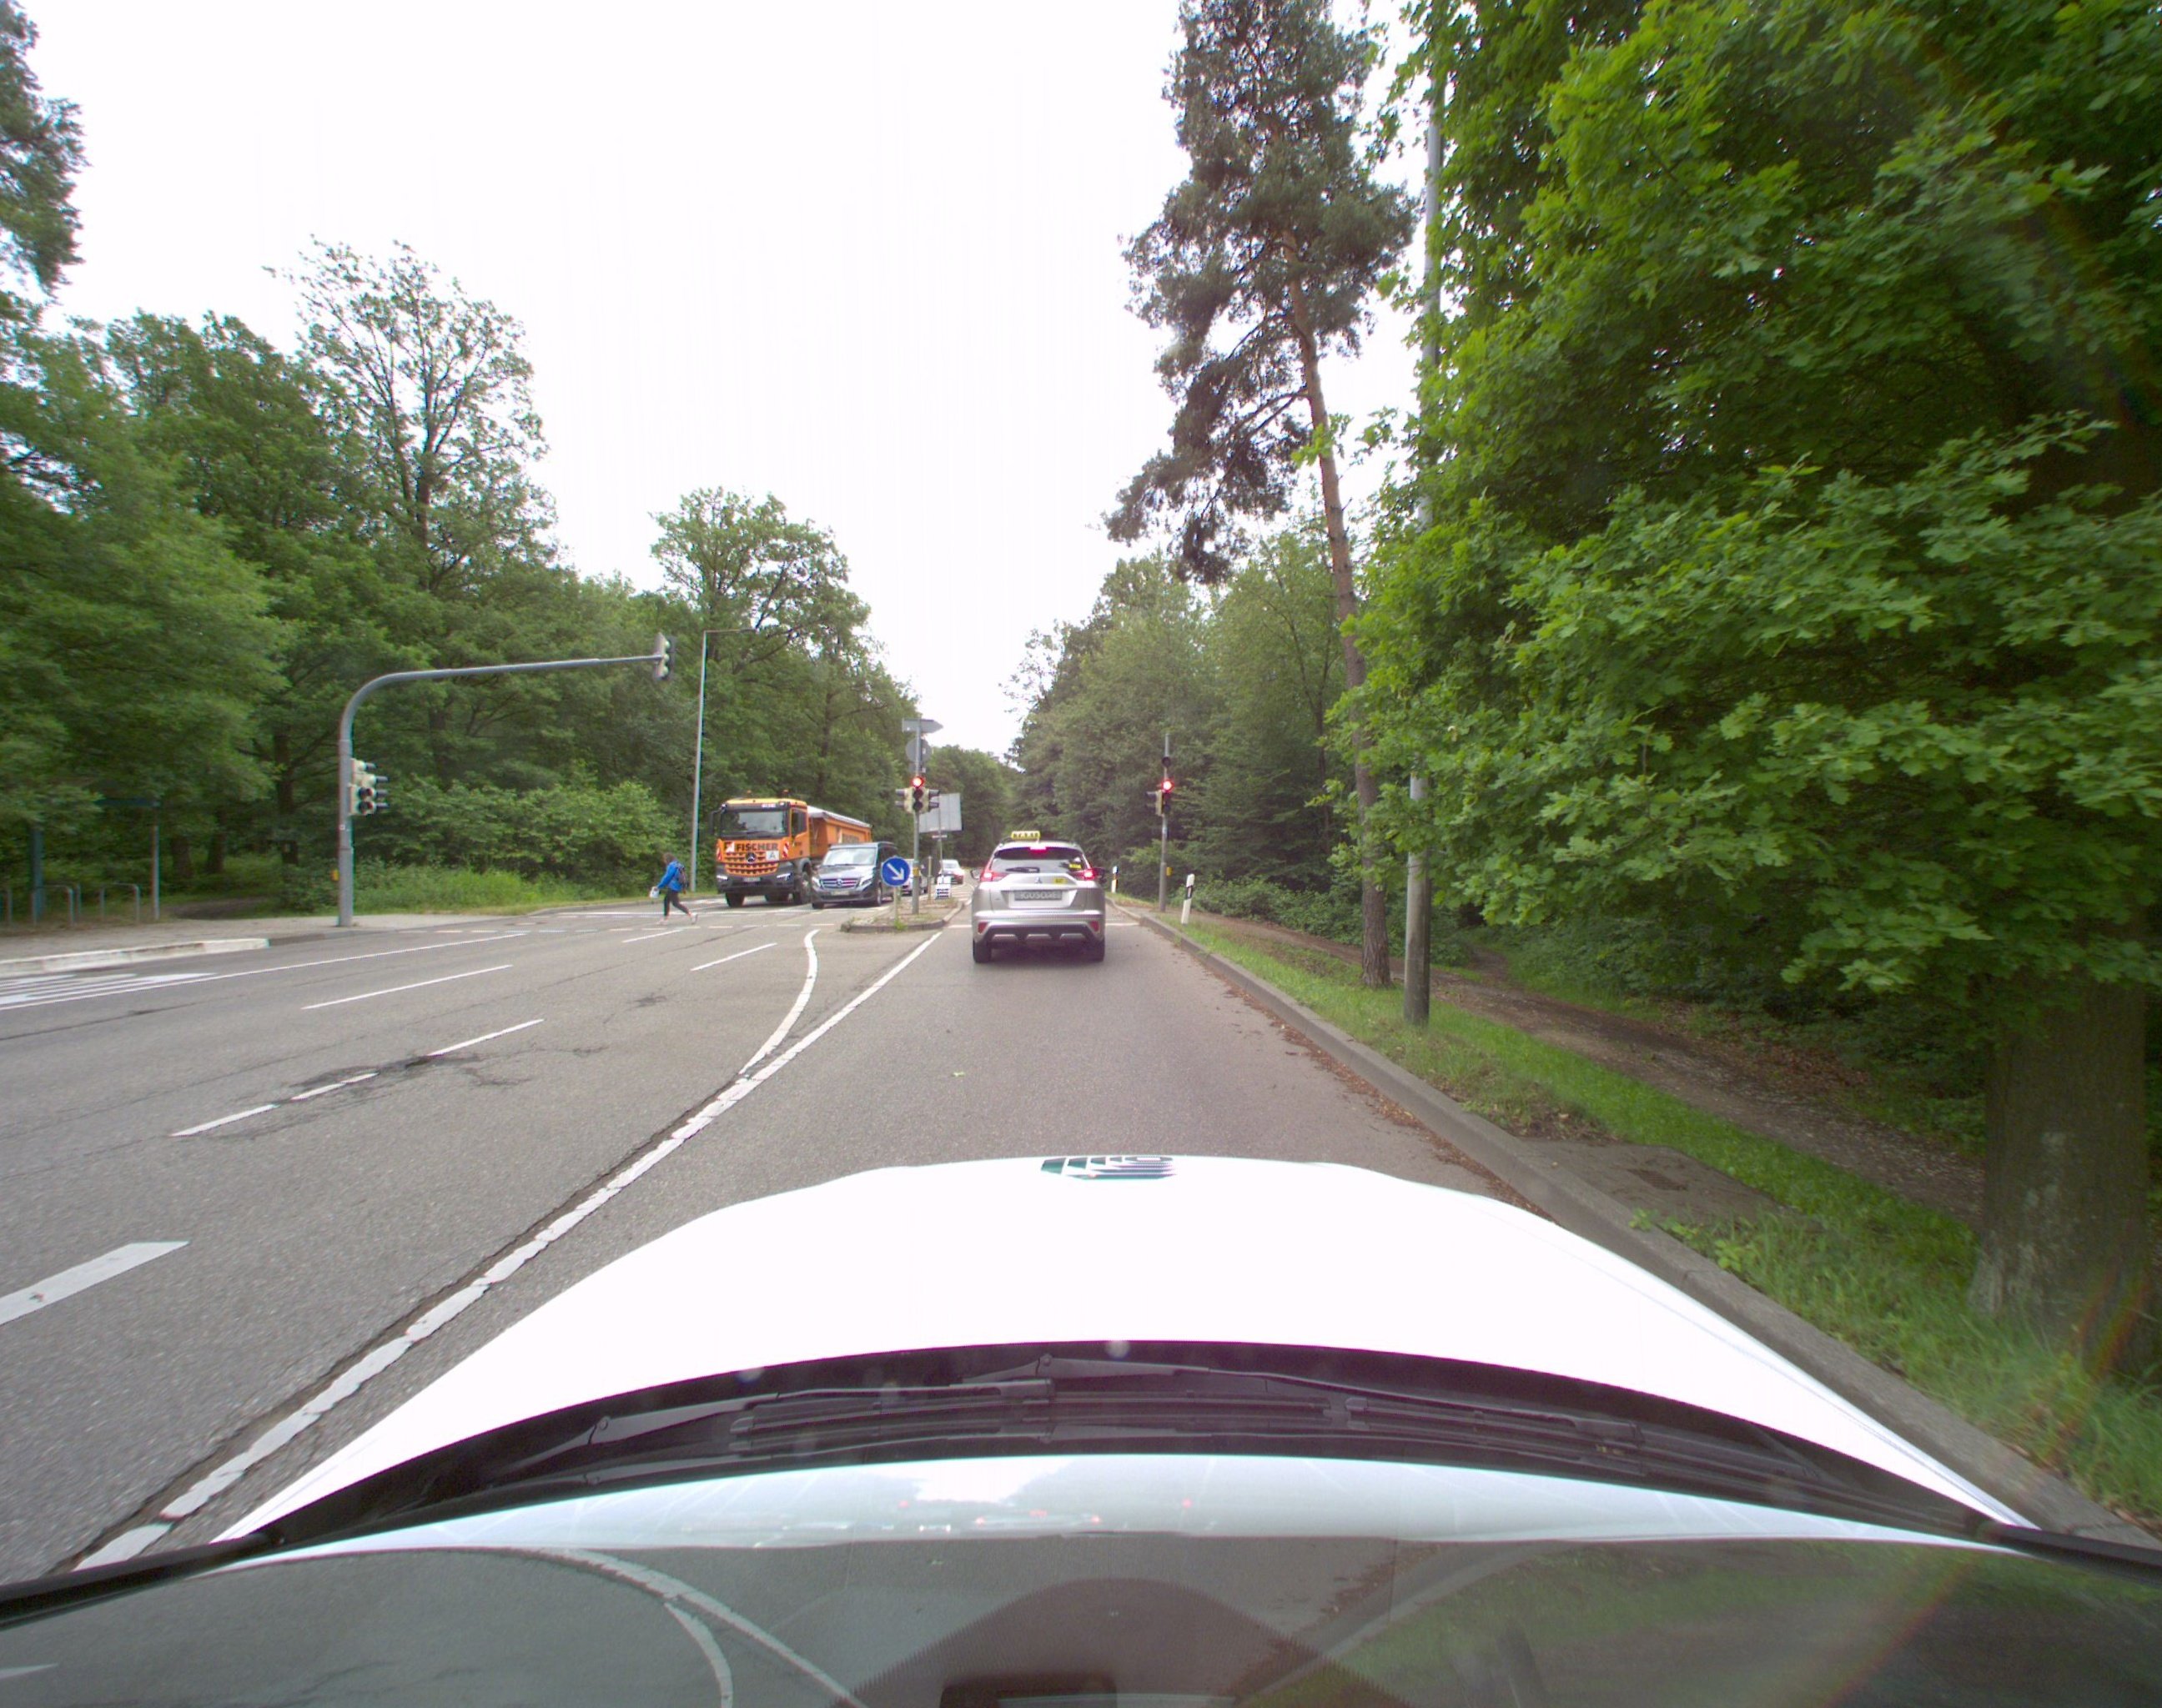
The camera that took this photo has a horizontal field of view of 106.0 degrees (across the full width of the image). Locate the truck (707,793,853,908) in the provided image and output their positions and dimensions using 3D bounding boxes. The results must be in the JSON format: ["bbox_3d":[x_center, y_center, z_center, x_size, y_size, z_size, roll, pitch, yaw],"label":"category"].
[{"bbox_3d":[-9.893,-0.059,27.649,2.734,3.318,7.148,-1,-1,-4],"label":"truck"}]

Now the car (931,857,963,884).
[{"bbox_3d":[-8.316,1.018,50.568,1.811,1.508,3.709,-3,0,-9],"label":"car"}]

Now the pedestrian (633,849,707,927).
[{"bbox_3d":[-9.115,0.735,18.104,1.042,1.649,1.070,-1,1,4],"label":"pedestrian"}]

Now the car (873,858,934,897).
[{"bbox_3d":[-6.942,0.899,32.187,1.608,1.321,3.719,-3,1,-2],"label":"car"}]

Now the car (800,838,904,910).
[{"bbox_3d":[-6.840,0.569,24.857,1.989,1.893,4.833,-2,0,-3],"label":"car"}]

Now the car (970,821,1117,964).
[{"bbox_3d":[-0.590,0.481,12.232,1.843,1.780,3.995,0,0,-4],"label":"car"}]

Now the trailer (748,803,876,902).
[{"bbox_3d":[-10.218,0.009,31.965,2.734,3.318,8.555,-1,-1,-4],"label":"trailer"}]
